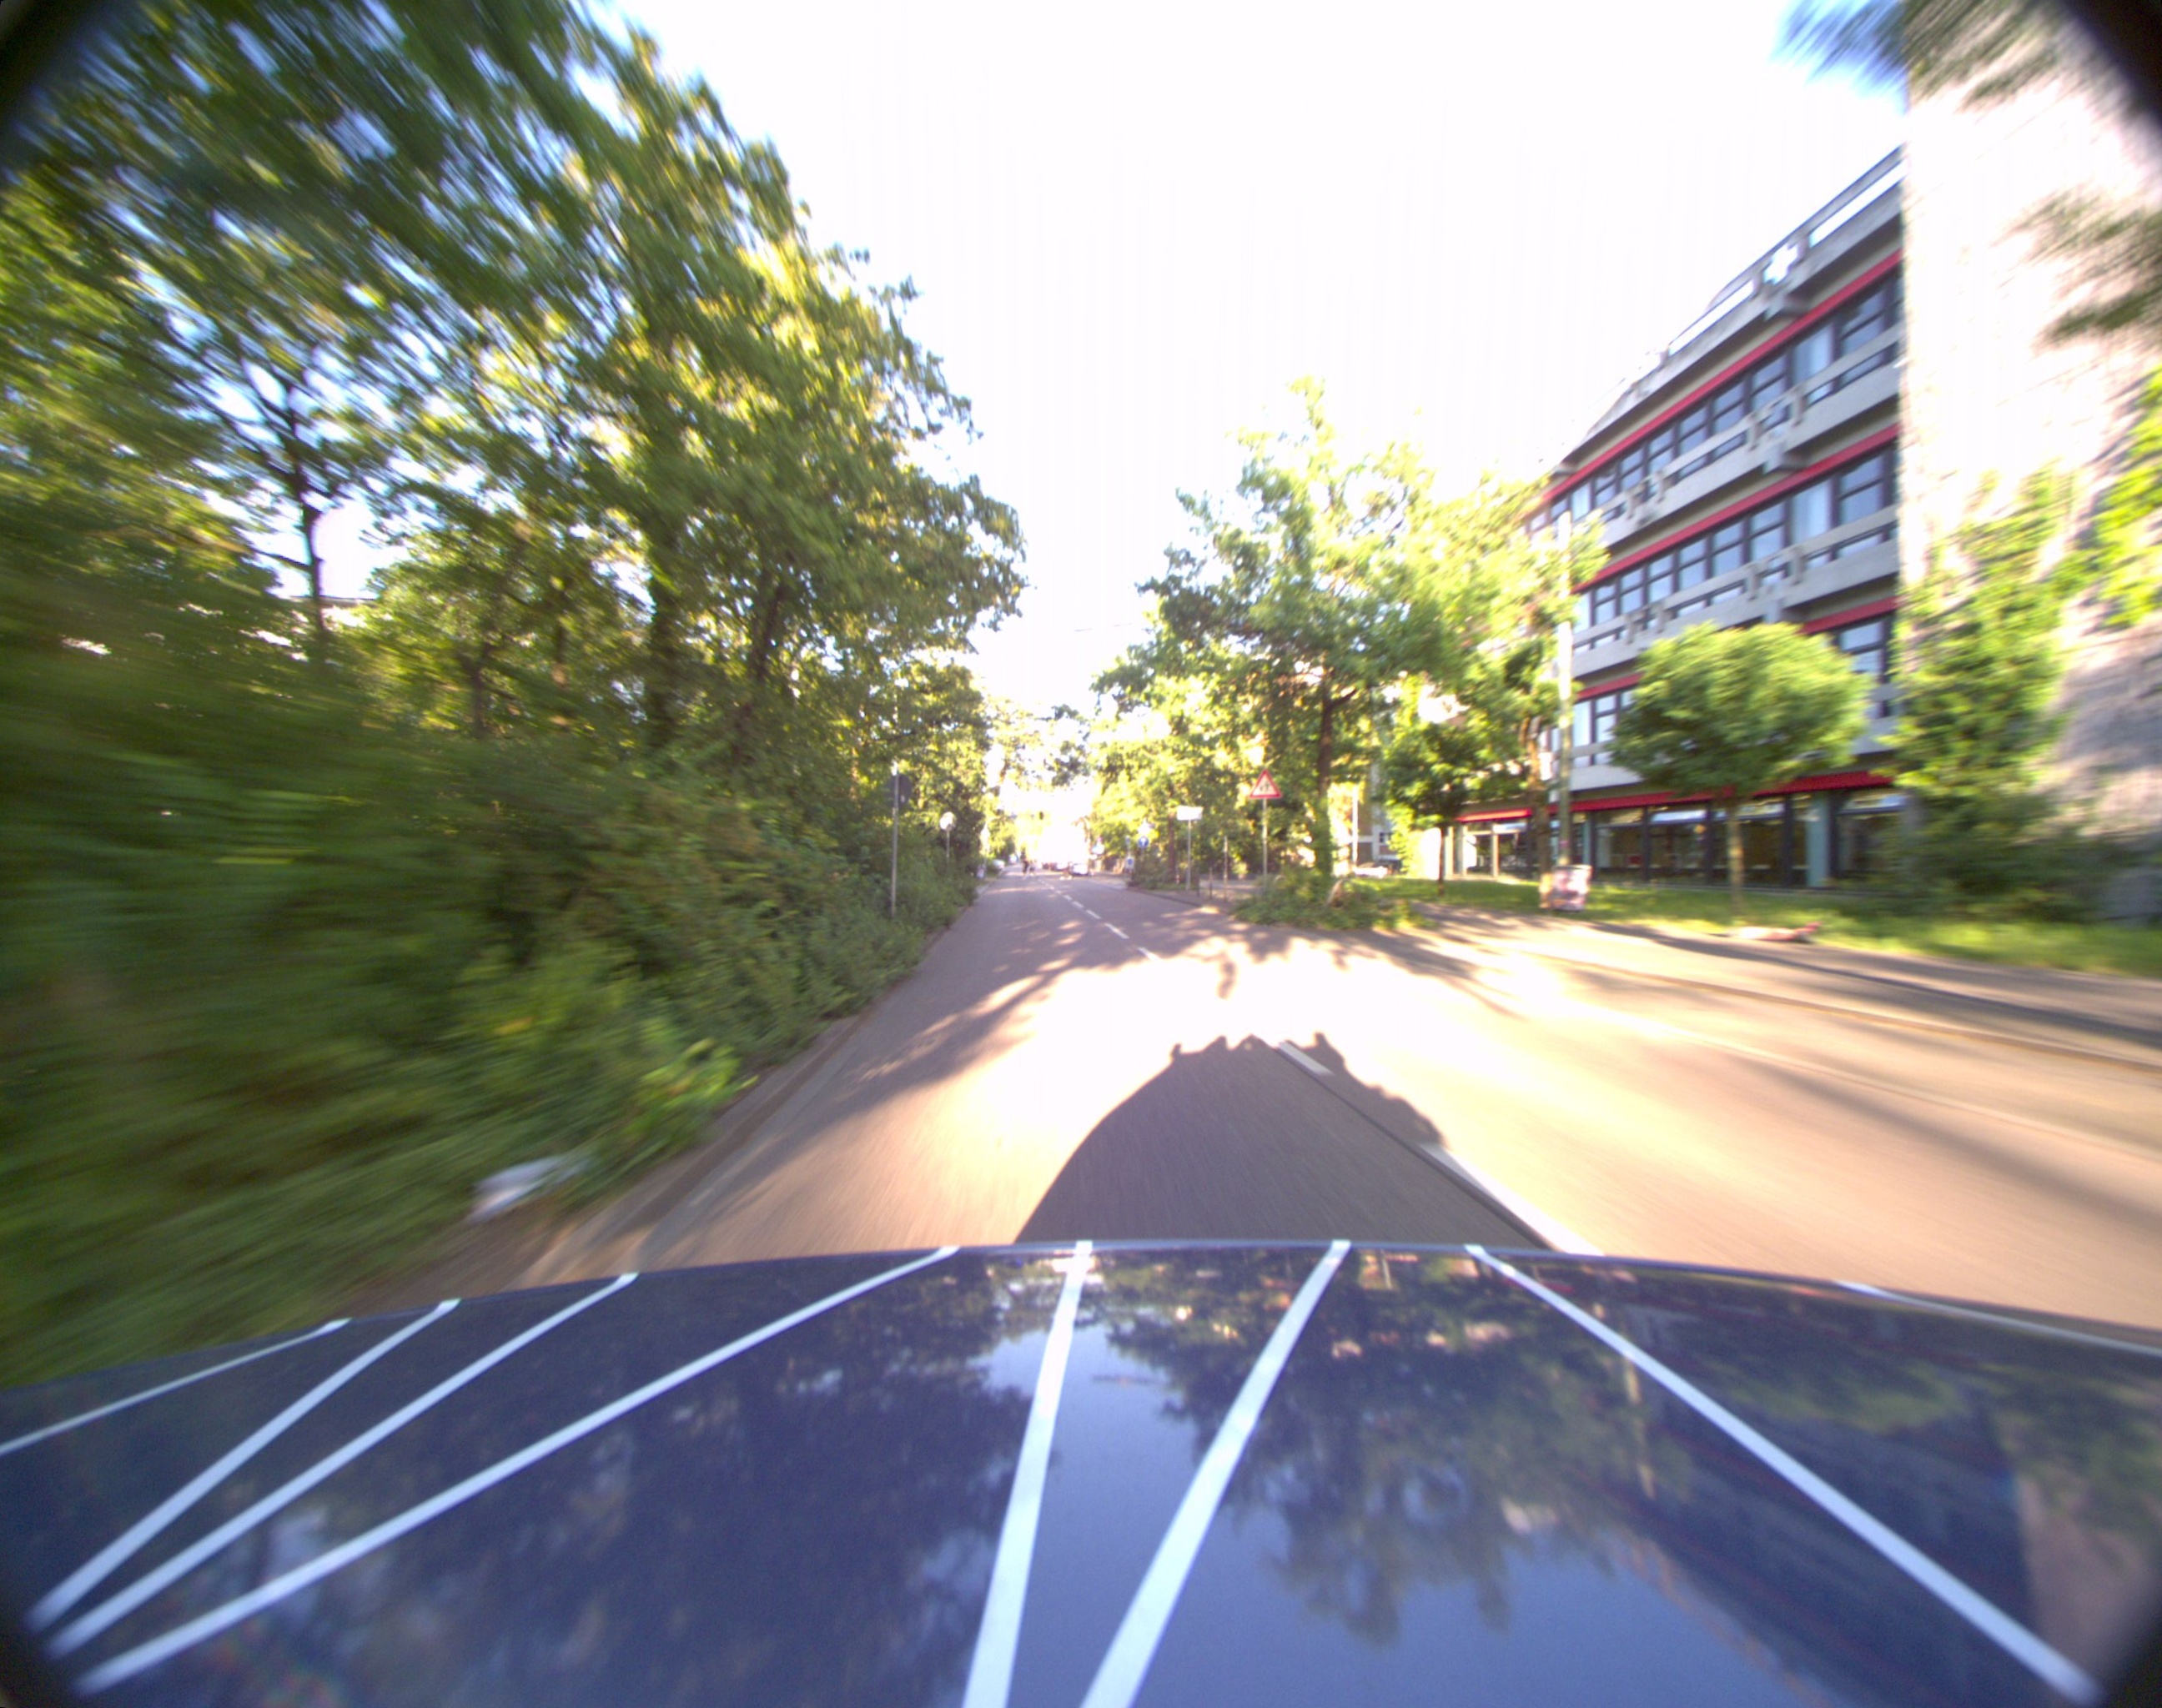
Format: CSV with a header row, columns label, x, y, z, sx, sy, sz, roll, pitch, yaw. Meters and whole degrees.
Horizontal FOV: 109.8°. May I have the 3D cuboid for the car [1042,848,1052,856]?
label,x,y,z,sx,sy,sz,roll,pitch,yaw
car,-7.393,-0.467,165.060,1.777,1.559,4.106,-2,0,-5

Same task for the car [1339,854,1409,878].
label,x,y,z,sx,sy,sz,roll,pitch,yaw
car,19.006,0.786,49.324,3.965,1.441,1.774,0,2,-16

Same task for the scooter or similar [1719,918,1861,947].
label,x,y,z,sx,sy,sz,roll,pitch,yaw
scooter or similar,11.119,1.217,11.956,1.166,0.274,1.248,-2,0,-21

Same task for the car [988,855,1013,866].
label,x,y,z,sx,sy,sz,roll,pitch,yaw
car,-13.167,1.027,123.554,2.004,1.630,3.989,-3,1,-42

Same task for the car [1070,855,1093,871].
label,x,y,z,sx,sy,sz,roll,pitch,yaw
car,0.010,0.824,73.522,1.777,1.474,4.106,-2,0,-5

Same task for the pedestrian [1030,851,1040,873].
label,x,y,z,sx,sy,sz,roll,pitch,yaw
pedestrian,-3.879,0.675,64.200,0.784,1.825,0.672,-3,1,-2

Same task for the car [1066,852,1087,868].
label,x,y,z,sx,sy,sz,roll,pitch,yaw
car,-0.515,0.638,79.626,1.777,1.559,4.106,-2,0,-5

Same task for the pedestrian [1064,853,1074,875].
label,x,y,z,sx,sy,sz,roll,pitch,yaw
pedestrian,-0.986,0.836,62.960,0.784,1.825,0.672,-3,1,-2

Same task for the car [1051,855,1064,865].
label,x,y,z,sx,sy,sz,roll,pitch,yaw
car,-3.627,0.924,118.284,1.777,1.559,4.106,-2,0,-5

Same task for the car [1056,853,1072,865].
label,x,y,z,sx,sy,sz,roll,pitch,yaw
car,-2.355,0.647,103.205,1.777,1.559,4.106,-2,0,-5

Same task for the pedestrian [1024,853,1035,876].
label,x,y,z,sx,sy,sz,roll,pitch,yaw
pedestrian,-4.246,0.859,62.807,0.784,1.825,0.672,-3,1,-2
